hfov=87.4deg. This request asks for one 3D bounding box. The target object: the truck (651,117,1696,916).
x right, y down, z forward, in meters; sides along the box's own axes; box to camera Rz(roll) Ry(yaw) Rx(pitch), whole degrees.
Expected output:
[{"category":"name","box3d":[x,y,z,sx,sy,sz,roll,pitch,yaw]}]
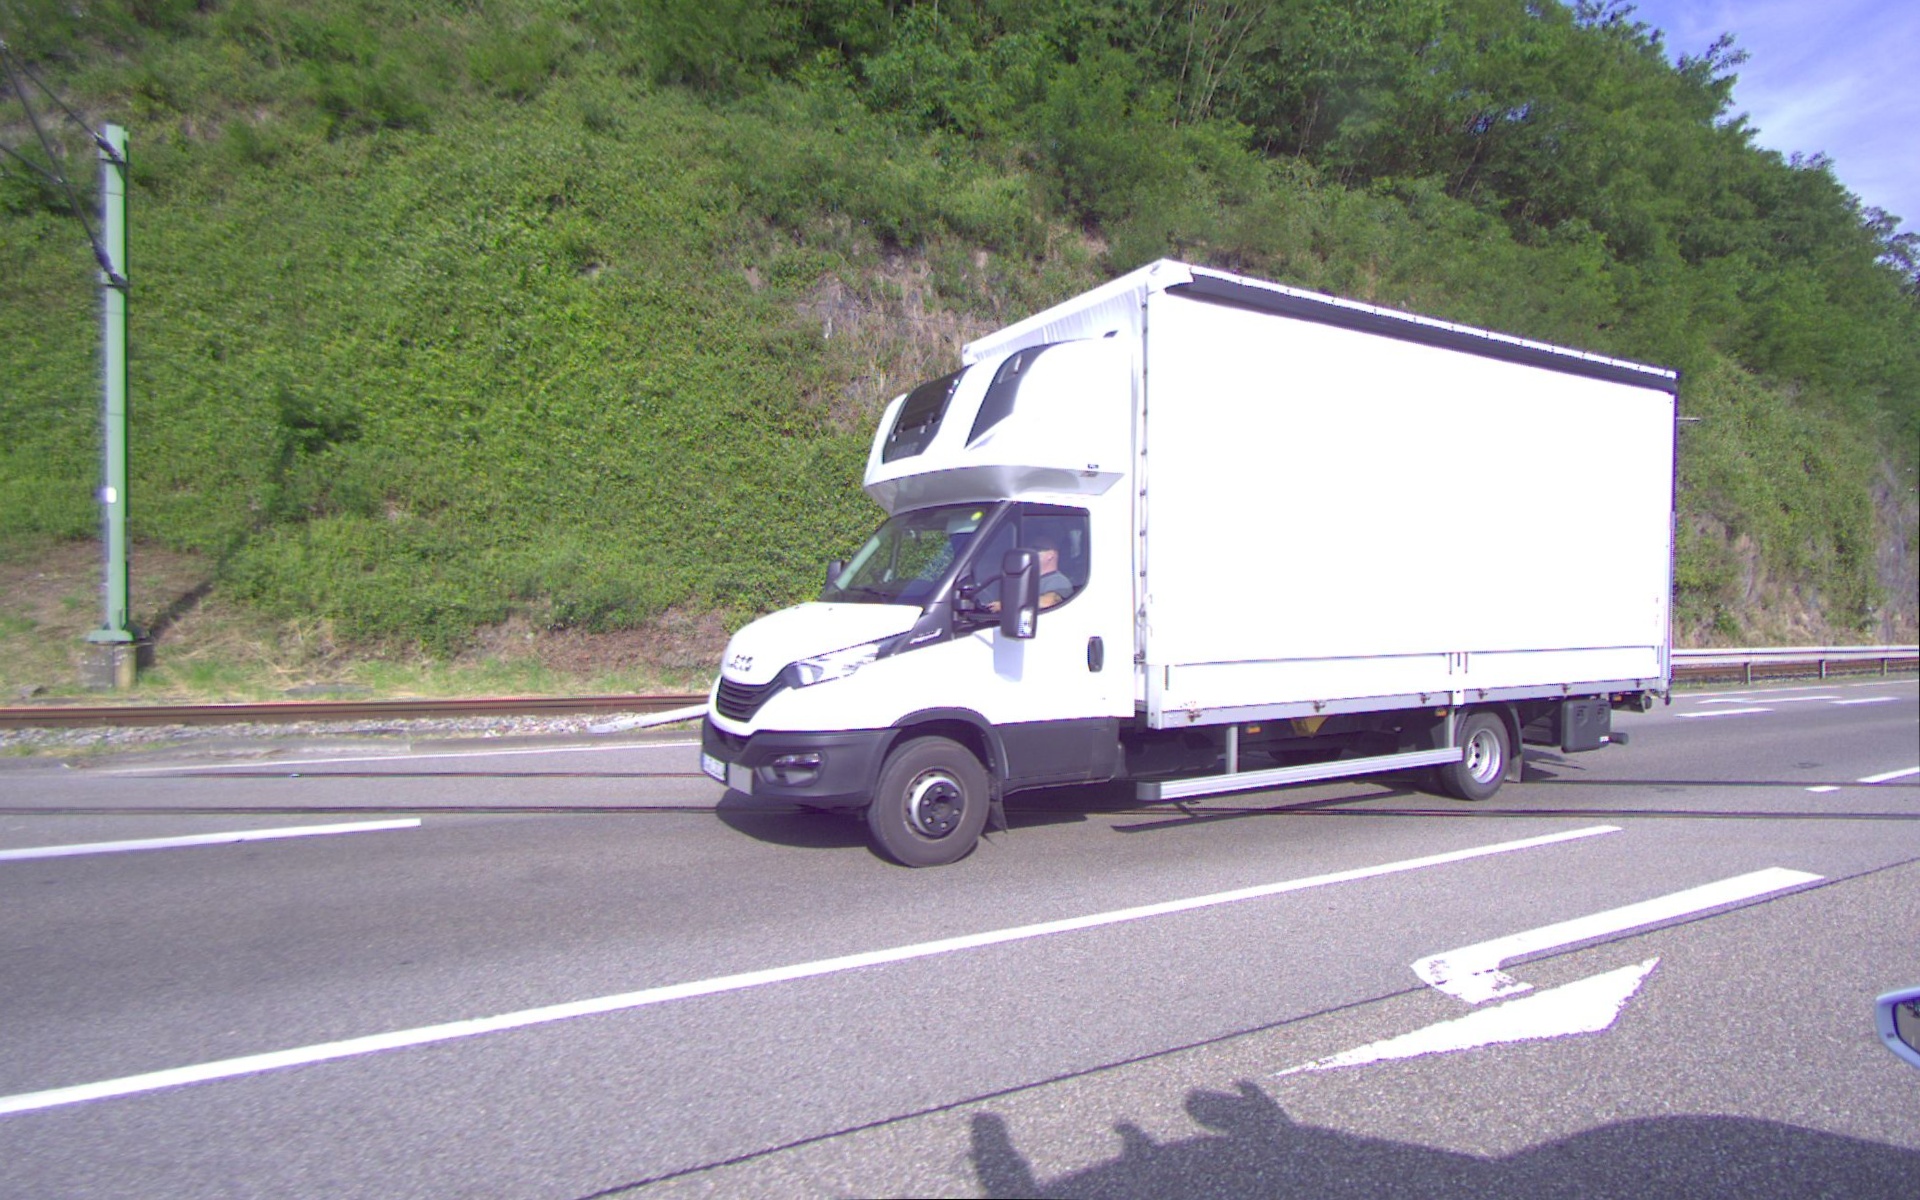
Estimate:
[{"category":"truck","box3d":[2.257,-0.344,8.307,8.788,3.849,2.883,1,0,-30]}]
